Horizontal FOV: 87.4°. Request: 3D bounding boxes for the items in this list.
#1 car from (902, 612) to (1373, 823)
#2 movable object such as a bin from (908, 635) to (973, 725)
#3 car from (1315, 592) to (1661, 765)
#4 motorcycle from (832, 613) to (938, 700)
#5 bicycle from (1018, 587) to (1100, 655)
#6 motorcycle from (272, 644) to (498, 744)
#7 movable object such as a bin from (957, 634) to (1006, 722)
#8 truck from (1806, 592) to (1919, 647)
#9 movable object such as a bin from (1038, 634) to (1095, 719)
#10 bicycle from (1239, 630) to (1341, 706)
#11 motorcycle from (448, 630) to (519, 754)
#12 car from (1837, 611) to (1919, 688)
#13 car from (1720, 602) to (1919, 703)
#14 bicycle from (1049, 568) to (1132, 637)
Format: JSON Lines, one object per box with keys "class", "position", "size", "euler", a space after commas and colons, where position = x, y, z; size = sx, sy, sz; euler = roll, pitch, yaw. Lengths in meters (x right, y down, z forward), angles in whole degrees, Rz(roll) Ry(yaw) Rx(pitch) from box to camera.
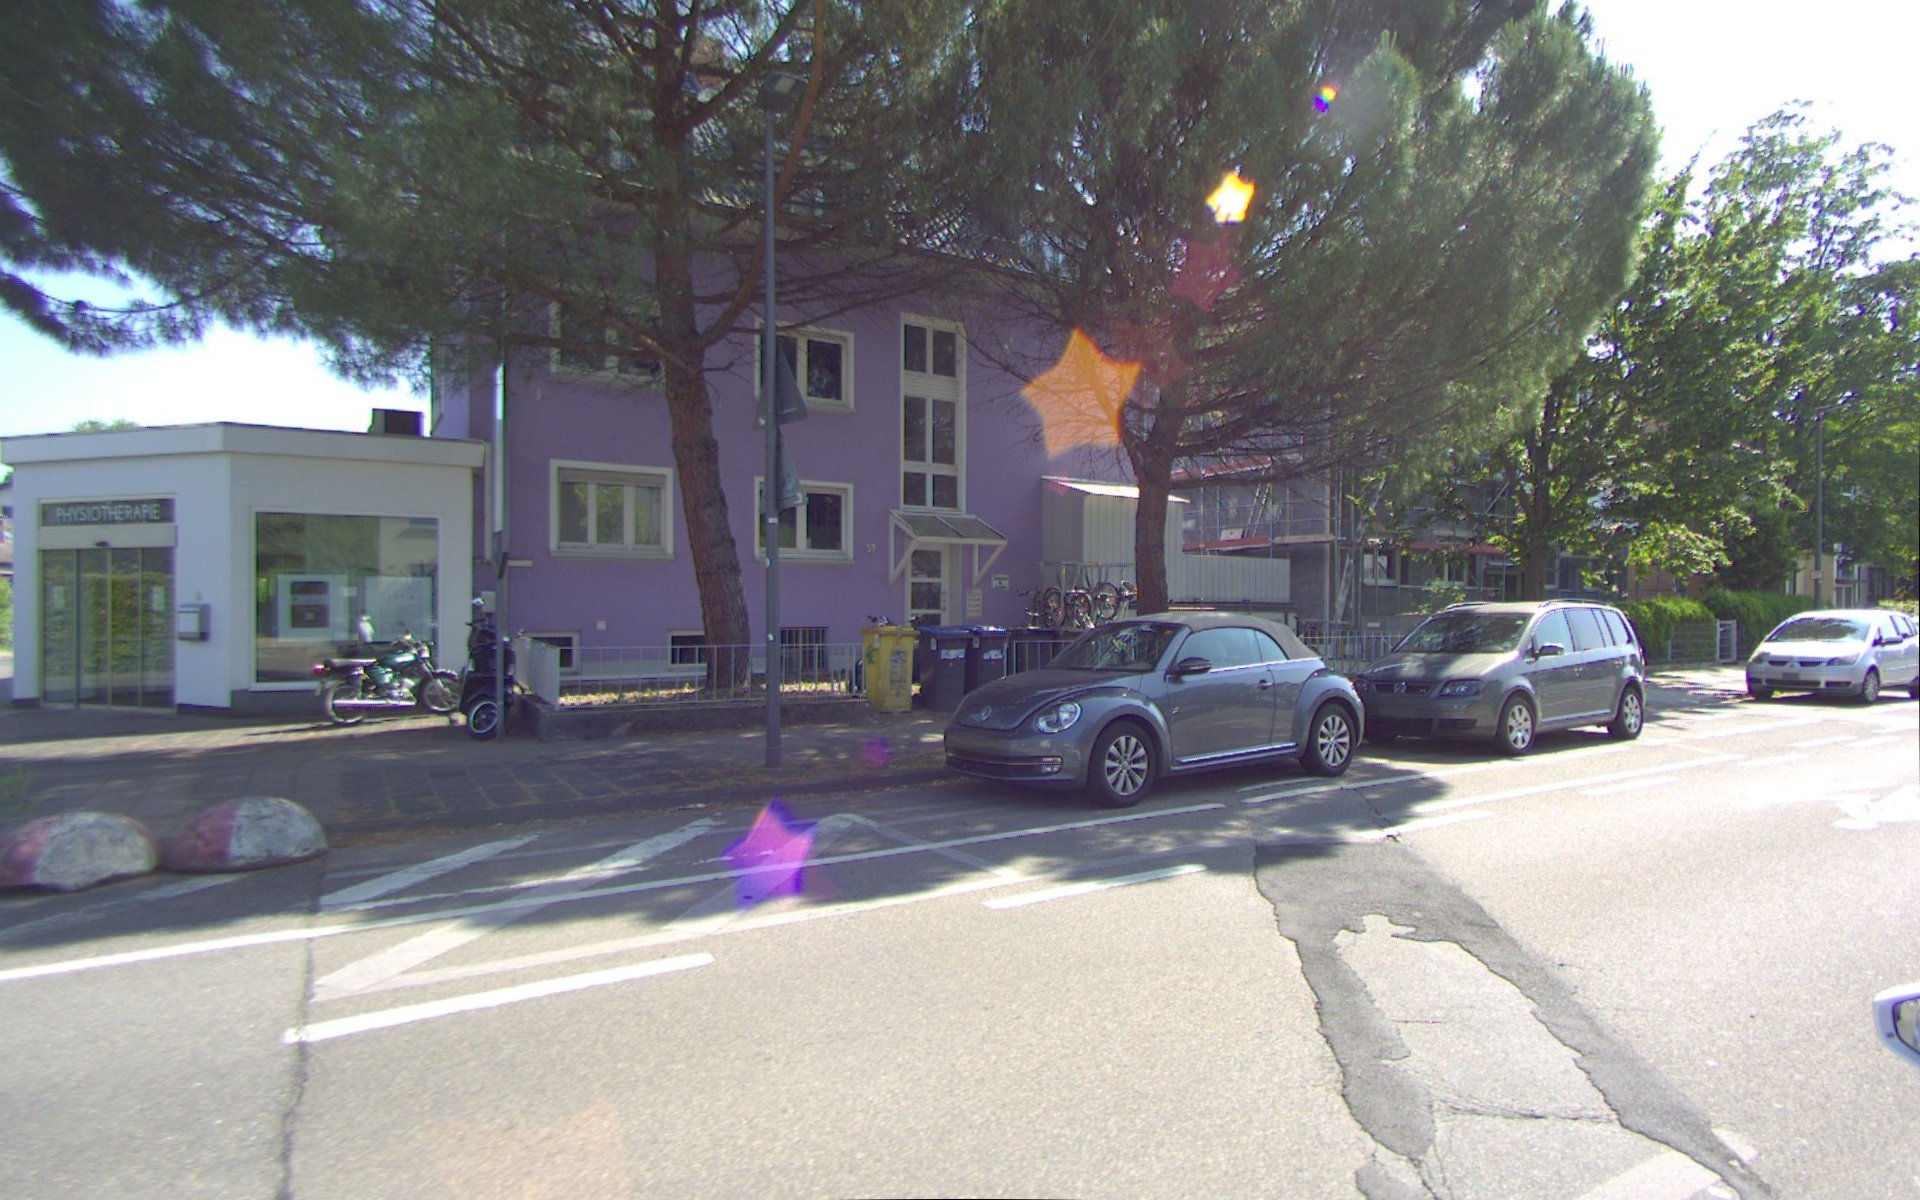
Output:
{"class": "car", "position": [1.665, 0.860, 8.936], "size": [4.042, 1.479, 1.770], "euler": [0, -1, -33]}
{"class": "movable object such as a bin", "position": [-0.258, 1.019, 13.044], "size": [0.654, 1.126, 0.603], "euler": [1, -1, -26]}
{"class": "car", "position": [6.324, 0.798, 11.896], "size": [4.215, 1.699, 1.897], "euler": [0, -1, -35]}
{"class": "motorcycle", "position": [-1.071, 0.794, 14.368], "size": [1.427, 1.197, 0.535], "euler": [1, -1, -27]}
{"class": "bicycle", "position": [1.832, 0.374, 18.551], "size": [1.427, 1.197, 0.535], "euler": [-2, 0, -27]}
{"class": "motorcycle", "position": [-6.920, 1.089, 12.236], "size": [0.632, 1.004, 2.348], "euler": [-1, 0, 34]}
{"class": "movable object such as a bin", "position": [0.277, 1.023, 13.333], "size": [0.425, 1.126, 0.603], "euler": [1, -1, -26]}
{"class": "truck", "position": [52.289, 1.106, 57.464], "size": [2.200, 2.985, 5.628], "euler": [1, -1, -36]}
{"class": "movable object such as a bin", "position": [1.475, 1.044, 13.938], "size": [0.577, 1.126, 0.542], "euler": [1, -1, -26]}
{"class": "bicycle", "position": [5.331, 1.070, 16.191], "size": [1.954, 1.161, 0.371], "euler": [1, -1, -30]}
{"class": "motorcycle", "position": [-5.173, 0.941, 10.891], "size": [0.634, 1.197, 1.833], "euler": [1, -1, -26]}
{"class": "car", "position": [20.163, 0.980, 20.848], "size": [3.608, 1.516, 1.827], "euler": [0, -1, -29]}
{"class": "car", "position": [15.477, 0.885, 17.915], "size": [3.731, 1.616, 1.826], "euler": [1, -1, -31]}
{"class": "bicycle", "position": [2.337, 0.052, 18.011], "size": [1.427, 1.197, 0.535], "euler": [1, -1, -27]}
